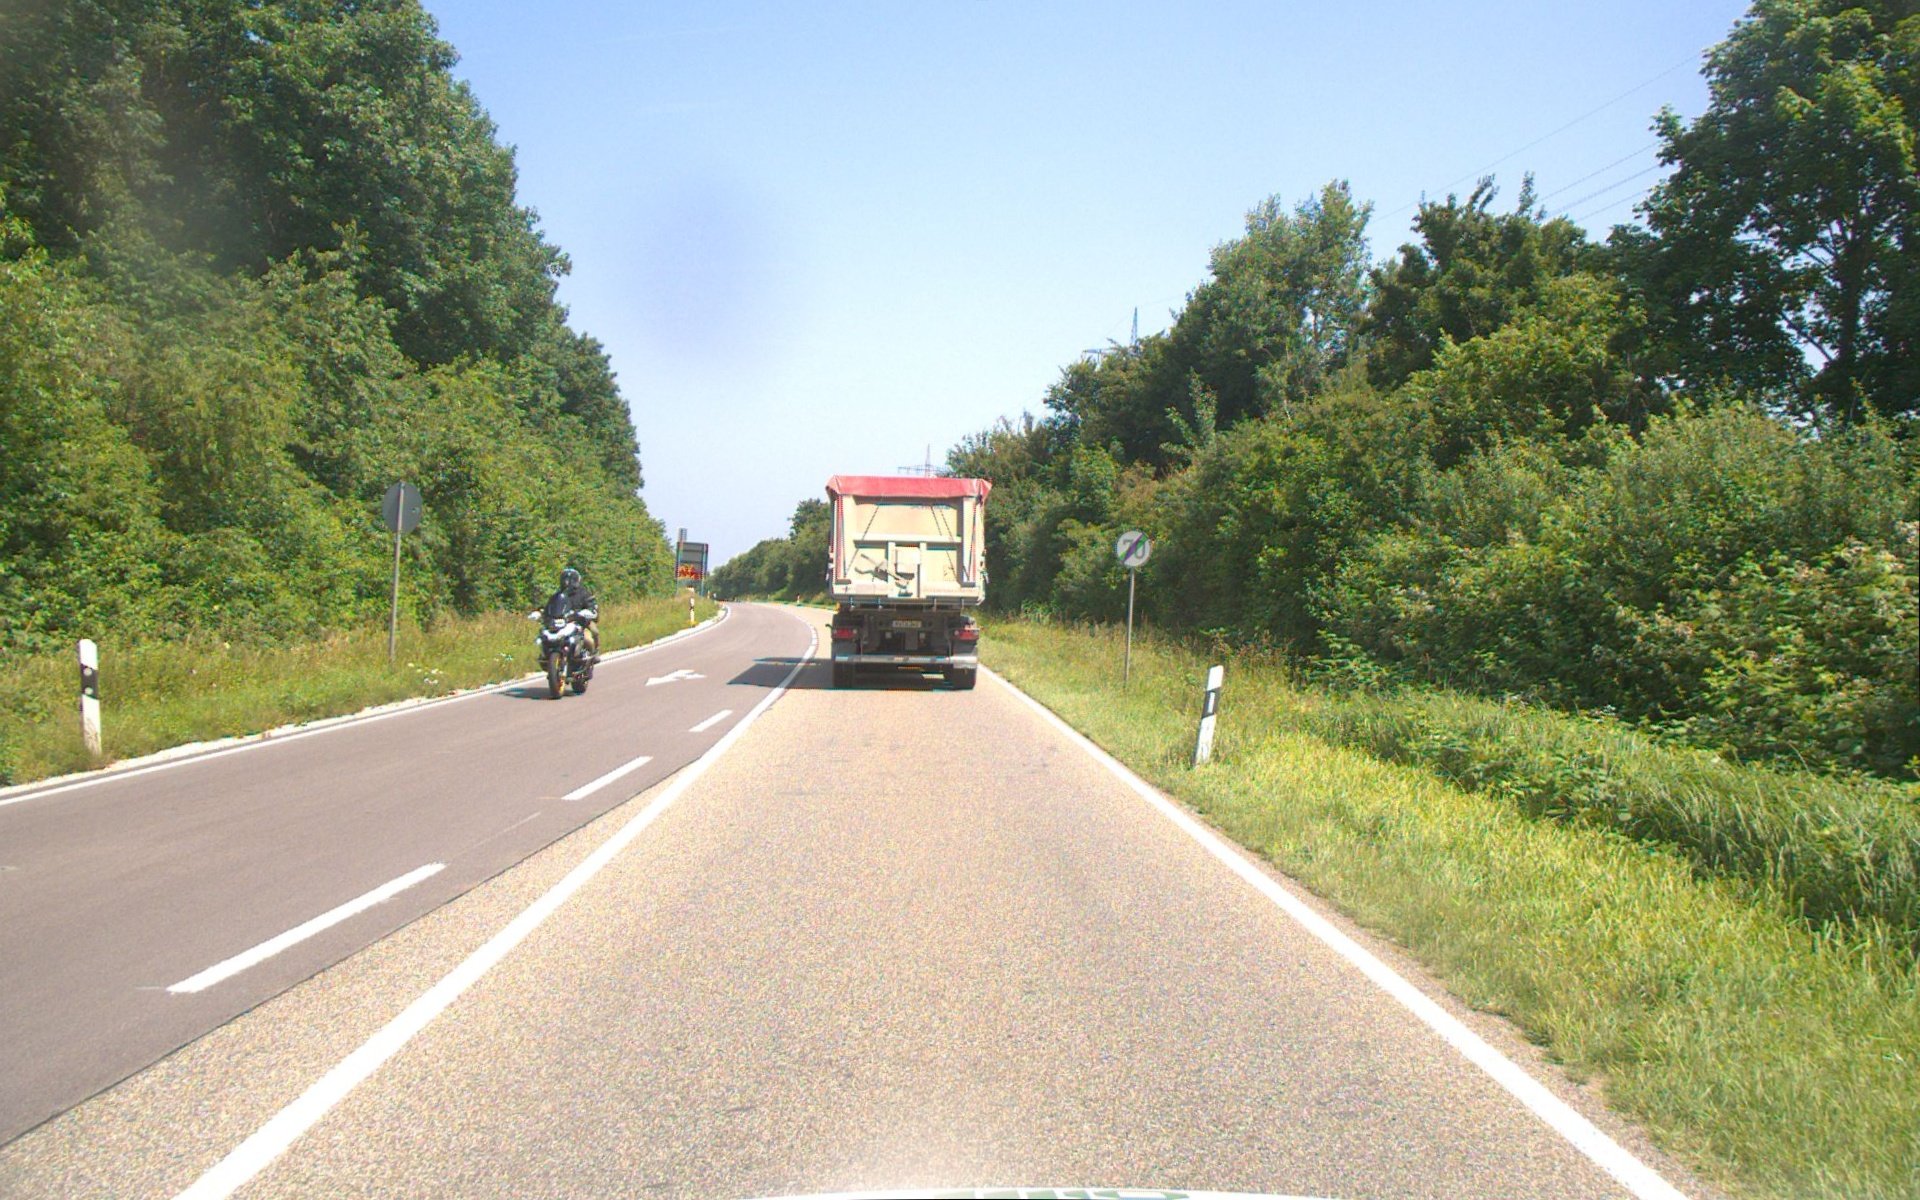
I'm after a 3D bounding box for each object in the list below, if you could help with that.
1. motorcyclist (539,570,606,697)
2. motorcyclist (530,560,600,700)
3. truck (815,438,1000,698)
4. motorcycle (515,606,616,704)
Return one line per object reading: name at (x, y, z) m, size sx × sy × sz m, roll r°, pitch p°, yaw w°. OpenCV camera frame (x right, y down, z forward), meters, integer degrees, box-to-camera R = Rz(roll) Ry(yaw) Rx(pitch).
motorcyclist at (-5.551, 0.480, 23.724) m, size 0.814 × 1.782 × 0.623 m, roll 1°, pitch 0°, yaw -4°
motorcyclist at (-5.482, 0.412, 23.000) m, size 0.804 × 1.914 × 0.656 m, roll 1°, pitch 0°, yaw -4°
truck at (-0.979, -0.540, 31.910) m, size 2.835 × 4.031 × 11.929 m, roll 1°, pitch 0°, yaw -1°
motorcycle at (-5.528, 0.742, 23.356) m, size 0.928 × 1.273 × 2.680 m, roll 1°, pitch 0°, yaw -4°
